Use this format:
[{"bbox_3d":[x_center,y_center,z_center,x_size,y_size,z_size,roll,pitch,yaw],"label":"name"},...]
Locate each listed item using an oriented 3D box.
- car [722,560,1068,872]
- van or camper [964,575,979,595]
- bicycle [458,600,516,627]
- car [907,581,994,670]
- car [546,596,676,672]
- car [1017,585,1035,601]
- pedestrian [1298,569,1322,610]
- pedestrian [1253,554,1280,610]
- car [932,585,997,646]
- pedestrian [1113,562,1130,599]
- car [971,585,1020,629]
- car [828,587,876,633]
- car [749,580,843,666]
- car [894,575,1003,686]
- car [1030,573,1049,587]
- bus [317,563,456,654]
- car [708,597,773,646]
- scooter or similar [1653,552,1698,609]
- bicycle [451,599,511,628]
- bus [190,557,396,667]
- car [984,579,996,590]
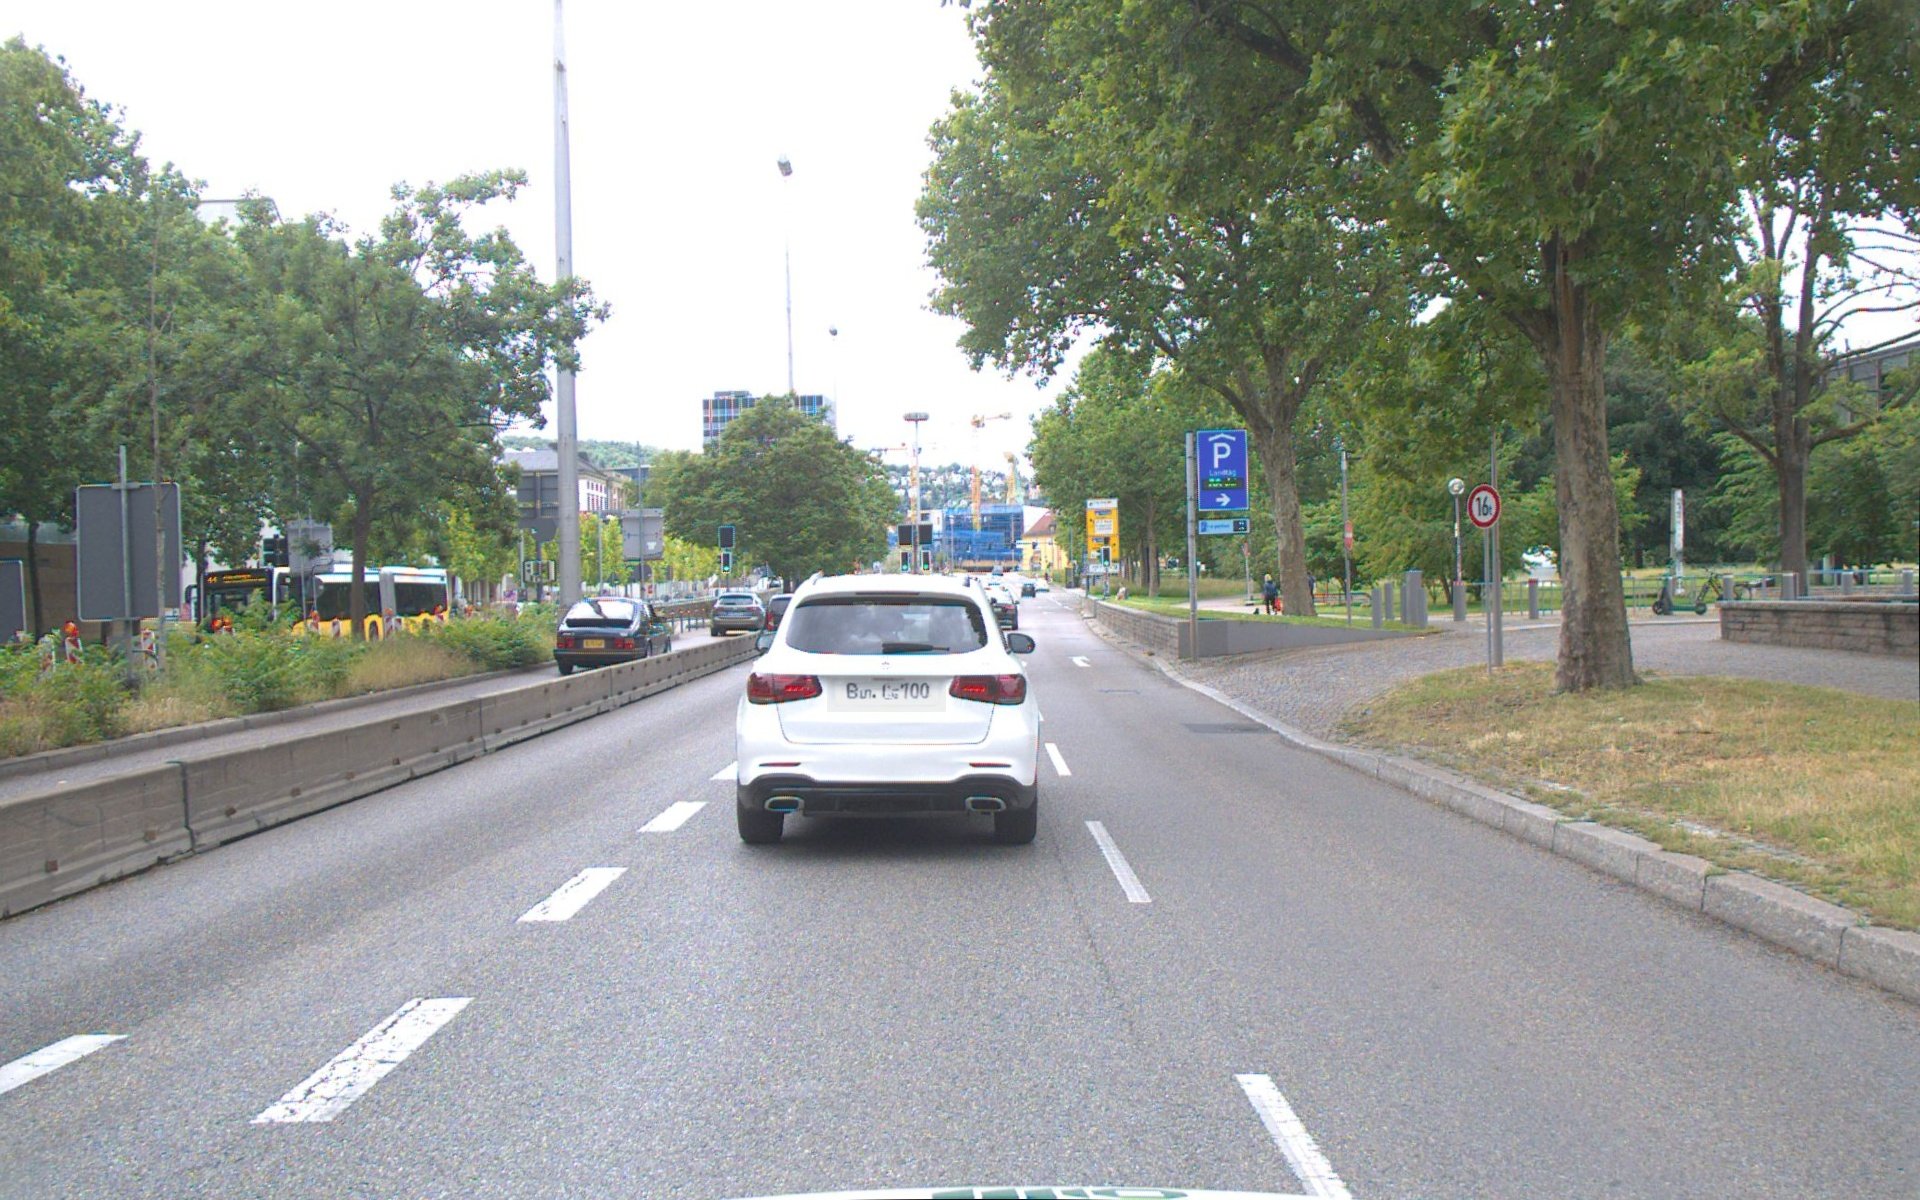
[{"bbox_3d":[-0.405,0.659,11.238,1.901,1.713,3.999,1,0,-1],"label":"car"},{"bbox_3d":[1.481,-1.858,208.470,1.883,2.360,3.999,0,-1,0],"label":"van or camper"},{"bbox_3d":[-31.898,0.920,111.611,3.540,1.713,1.183,-2,1,-1],"label":"bicycle"},{"bbox_3d":[-0.153,0.508,33.582,1.638,1.656,4.000,1,-1,1],"label":"car"},{"bbox_3d":[-6.565,0.600,31.471,1.684,1.315,3.999,1,0,-1],"label":"car"},{"bbox_3d":[7.103,-0.748,178.088,1.684,1.612,3.999,1,0,-1],"label":"car"},{"bbox_3d":[13.253,-0.397,62.624,0.770,1.553,0.683,1,-1,1],"label":"pedestrian"},{"bbox_3d":[11.410,-0.652,61.553,0.838,2.049,0.815,1,-1,-2],"label":"pedestrian"},{"bbox_3d":[0.085,0.396,46.148,1.684,1.612,3.999,1,0,-1],"label":"car"},{"bbox_3d":[7.567,-0.909,77.463,0.683,1.684,0.684,1,-1,0],"label":"pedestrian"},{"bbox_3d":[1.332,0.250,63.491,1.684,1.612,3.999,1,0,-1],"label":"car"},{"bbox_3d":[-4.039,0.352,62.111,1.685,1.612,3.997,1,0,-3],"label":"car"},{"bbox_3d":[-3.451,0.441,35.392,1.684,1.708,3.999,1,0,-1],"label":"car"},{"bbox_3d":[-0.201,0.475,26.827,1.620,1.638,3.999,1,0,-1],"label":"car"},{"bbox_3d":[10.109,-2.499,210.972,1.954,1.646,3.996,1,0,-4],"label":"car"},{"bbox_3d":[-22.601,0.297,65.681,2.863,3.361,7.705,-1,0,-1],"label":"bus"},{"bbox_3d":[-7.492,0.705,56.705,1.717,1.580,3.999,1,0,-1],"label":"car"},{"bbox_3d":[16.292,-0.431,37.665,0.701,1.268,0.728,1,-1,-1],"label":"scooter or similar"},{"bbox_3d":[-31.597,0.885,109.182,3.540,1.713,1.183,-2,1,-1],"label":"bicycle"},{"bbox_3d":[-22.492,0.348,56.595,2.853,3.362,10.448,-1,0,-1],"label":"bus"},{"bbox_3d":[4.447,-2.346,244.525,1.684,1.612,3.999,1,0,-1],"label":"car"}]
